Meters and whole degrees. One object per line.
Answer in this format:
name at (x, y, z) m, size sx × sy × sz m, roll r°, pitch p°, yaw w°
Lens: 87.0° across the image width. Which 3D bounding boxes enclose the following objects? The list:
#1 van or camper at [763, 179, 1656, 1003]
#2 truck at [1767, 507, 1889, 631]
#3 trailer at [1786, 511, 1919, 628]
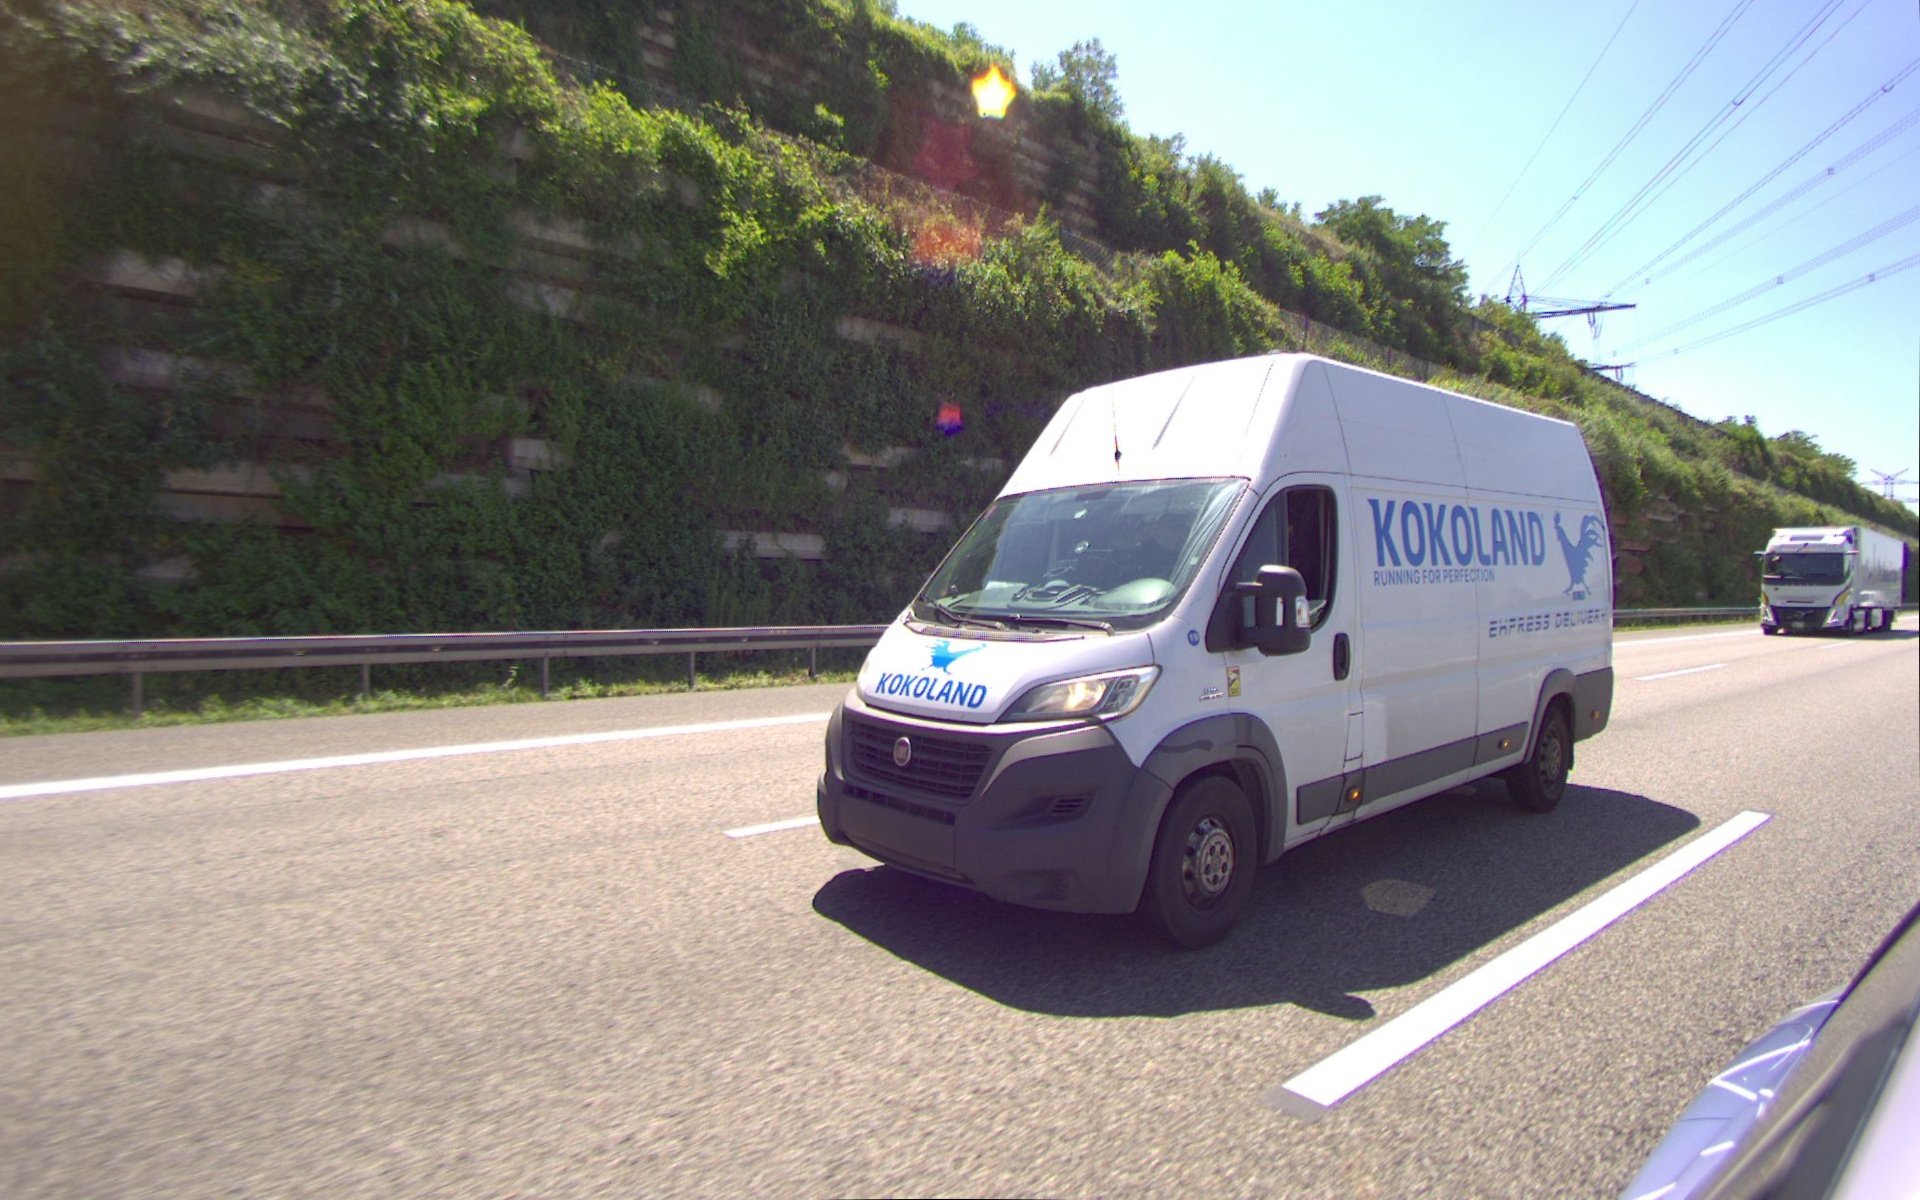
van or camper at (2.201, -0.067, 6.444) m, size 6.640 × 2.803 × 2.100 m, roll 0°, pitch 1°, yaw -42°
truck at (32.526, -1.132, 37.836) m, size 6.147 × 4.272 × 2.512 m, roll 0°, pitch 2°, yaw -41°
trailer at (38.735, -1.168, 43.353) m, size 16.732 × 4.264 × 2.519 m, roll 0°, pitch 2°, yaw -42°
